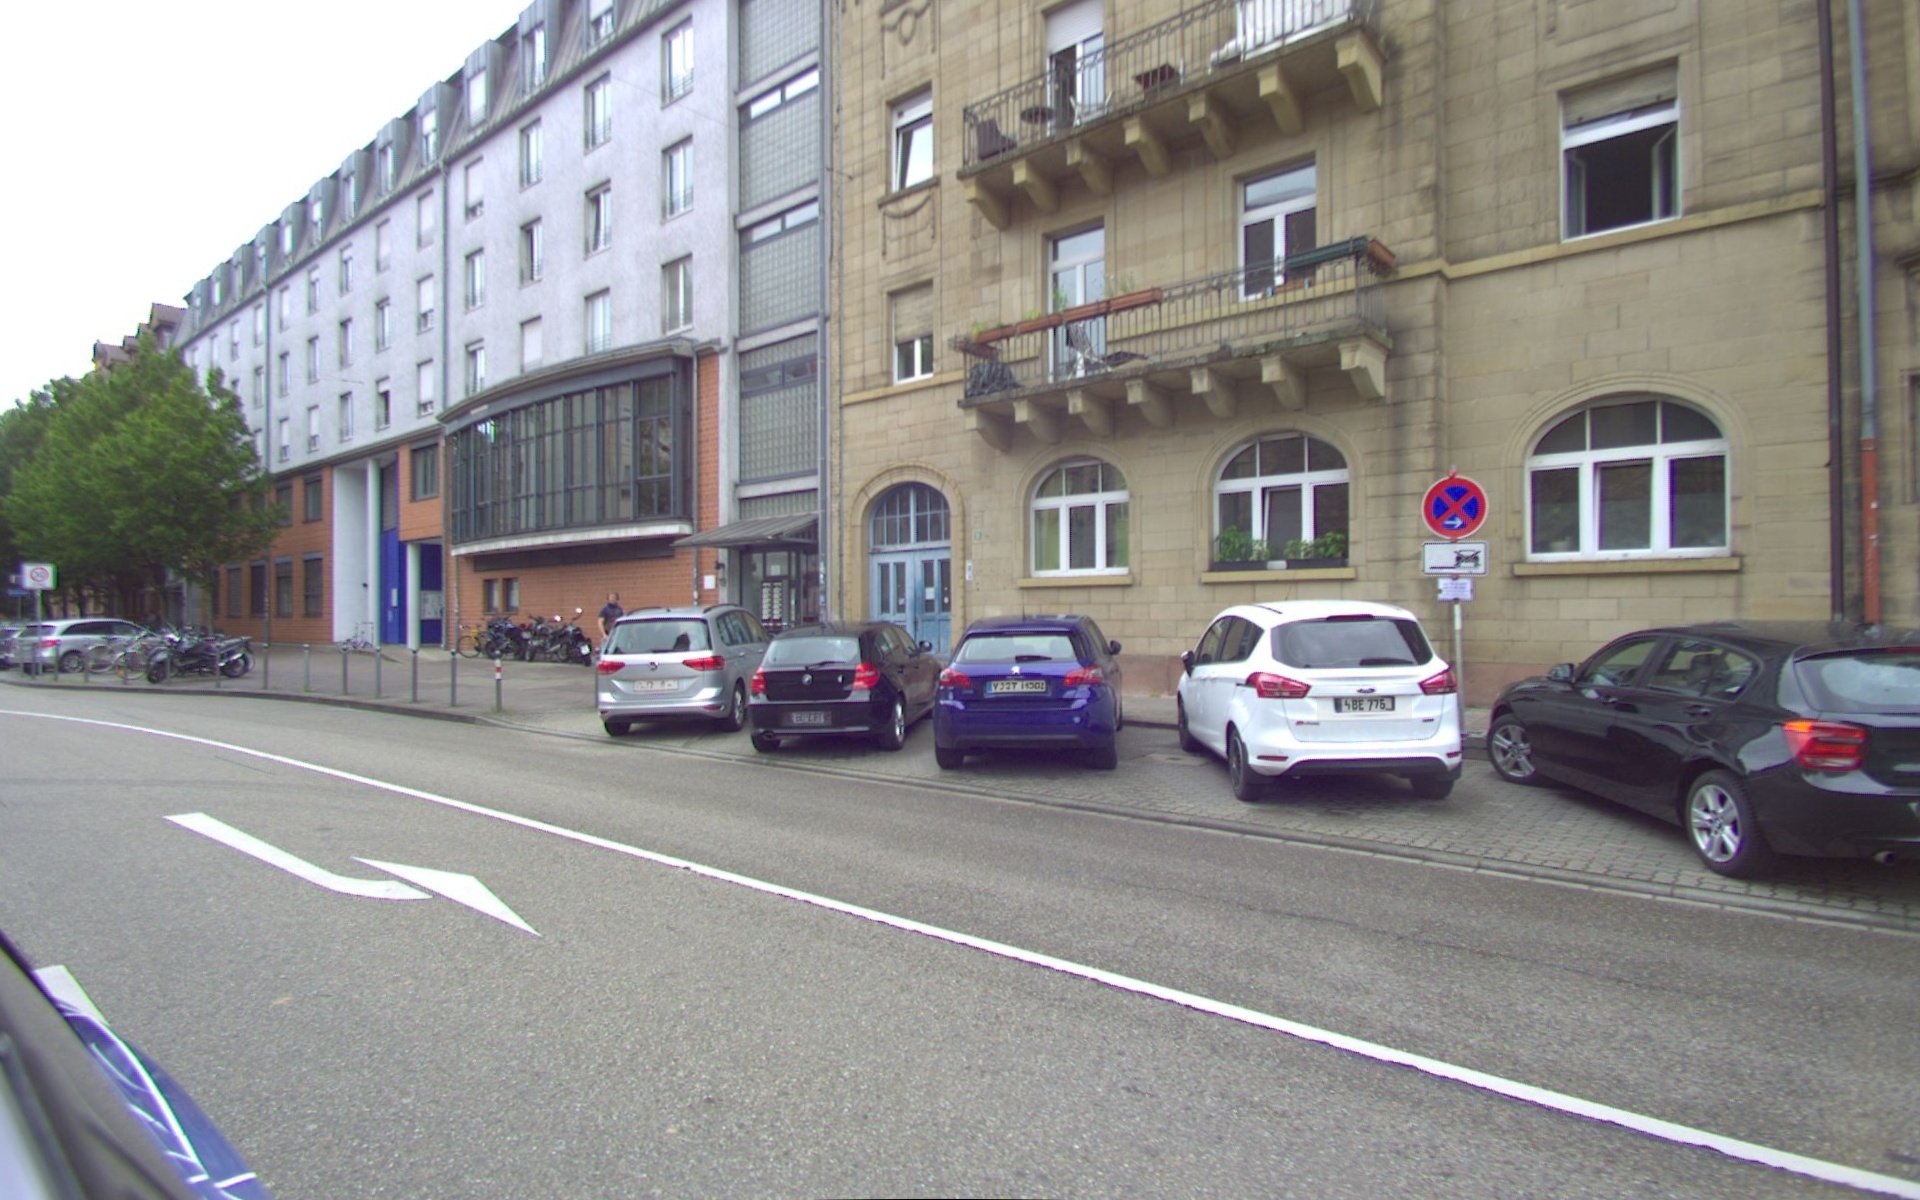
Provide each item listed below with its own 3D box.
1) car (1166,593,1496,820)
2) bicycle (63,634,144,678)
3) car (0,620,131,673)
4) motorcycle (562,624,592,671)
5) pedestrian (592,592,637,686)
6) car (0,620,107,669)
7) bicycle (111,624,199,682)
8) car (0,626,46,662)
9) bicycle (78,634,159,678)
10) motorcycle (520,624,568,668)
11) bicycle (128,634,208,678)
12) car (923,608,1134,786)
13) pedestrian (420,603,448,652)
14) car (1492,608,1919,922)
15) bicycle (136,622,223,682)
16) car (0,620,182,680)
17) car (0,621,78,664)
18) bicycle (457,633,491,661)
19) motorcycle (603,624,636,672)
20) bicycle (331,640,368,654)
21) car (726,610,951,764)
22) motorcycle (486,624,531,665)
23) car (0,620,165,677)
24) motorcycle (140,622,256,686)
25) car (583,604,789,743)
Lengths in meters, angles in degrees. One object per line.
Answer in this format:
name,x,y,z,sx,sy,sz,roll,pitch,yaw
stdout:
car,3.079,0.762,9.308,1.681,1.565,3.997,-2,1,3
bicycle,-23.108,1.484,27.316,0.416,1.082,1.609,-1,0,39
car,-30.387,1.497,33.608,1.983,1.641,3.976,-1,-1,18
motorcycle,-9.405,1.142,24.807,0.438,1.106,1.768,1,-2,-29
pedestrian,-6.938,0.776,20.340,0.642,1.837,0.613,-2,-2,41
car,-32.604,1.526,35.273,1.983,1.641,3.976,-1,-1,18
bicycle,-19.634,1.273,24.700,0.416,1.299,1.609,-1,0,39
car,-42.139,1.904,43.462,1.724,1.508,3.976,-1,-1,18
bicycle,-22.466,1.476,27.045,0.416,1.082,1.609,-1,0,39
motorcycle,-10.917,1.191,26.544,1.762,1.106,0.440,-1,-2,42
bicycle,-21.106,1.472,27.001,0.416,1.082,1.609,-1,0,39
car,0.907,0.892,10.851,1.804,1.456,3.737,-2,1,11
pedestrian,-18.052,0.939,34.736,0.622,1.662,0.677,-1,-1,43
car,5.283,0.802,6.749,1.641,1.428,3.994,-1,0,5
bicycle,-18.838,1.239,24.459,0.416,1.363,1.609,-1,0,39
car,-25.740,1.427,30.006,1.758,1.641,3.976,-1,-1,18
car,-37.077,1.637,39.184,1.983,1.641,3.976,-1,-1,18
bicycle,-14.263,1.379,29.689,1.581,0.793,0.332,-1,-2,42
motorcycle,-8.053,1.113,23.906,0.438,1.106,1.768,1,-2,-29
bicycle,-21.101,1.623,34.970,0.527,0.440,0.997,1,0,42
car,-1.287,0.925,12.412,1.713,1.449,3.989,-2,1,9
motorcycle,-12.439,1.204,27.852,1.762,1.106,0.440,-1,-2,42
car,-27.746,1.465,31.751,1.983,1.641,3.976,-1,-1,18
motorcycle,-17.923,1.239,23.852,0.599,1.363,2.096,-1,0,41
car,-3.670,0.911,14.314,1.710,1.565,3.998,-2,1,1
